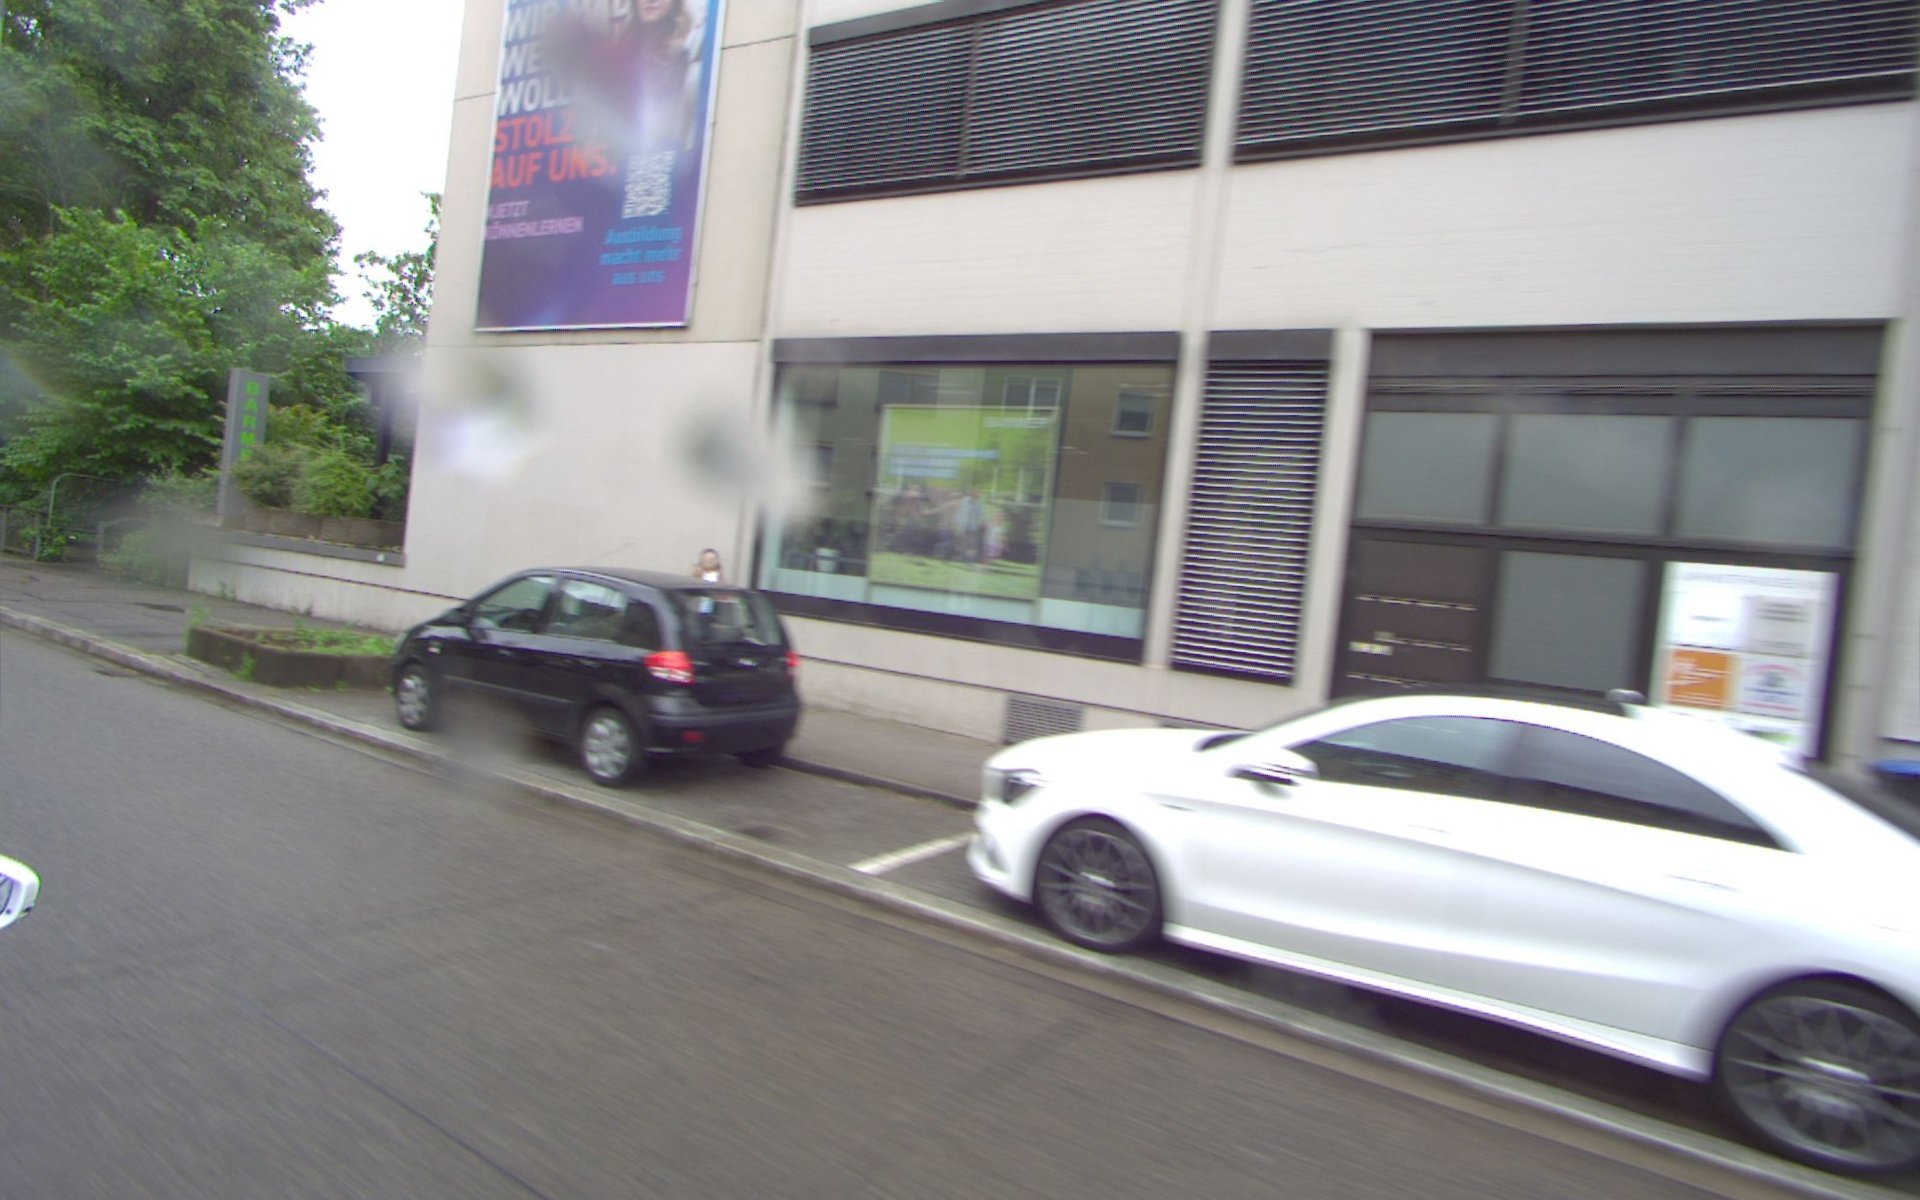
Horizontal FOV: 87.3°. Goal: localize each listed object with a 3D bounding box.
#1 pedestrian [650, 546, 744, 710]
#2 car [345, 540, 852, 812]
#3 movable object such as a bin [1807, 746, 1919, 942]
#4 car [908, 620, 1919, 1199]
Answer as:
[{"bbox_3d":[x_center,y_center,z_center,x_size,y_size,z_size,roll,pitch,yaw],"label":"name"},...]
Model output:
[{"bbox_3d":[-2.979,0.307,11.429,0.669,1.760,0.613,6,2,25],"label":"pedestrian"},{"bbox_3d":[-3.023,0.448,8.117,4.015,1.461,1.714,7,2,33],"label":"car"},{"bbox_3d":[6.058,1.556,6.393,0.770,1.081,0.714,7,1,26],"label":"movable object such as a bin"},{"bbox_3d":[2.179,1.062,4.670,4.502,1.420,1.776,7,2,30],"label":"car"}]
